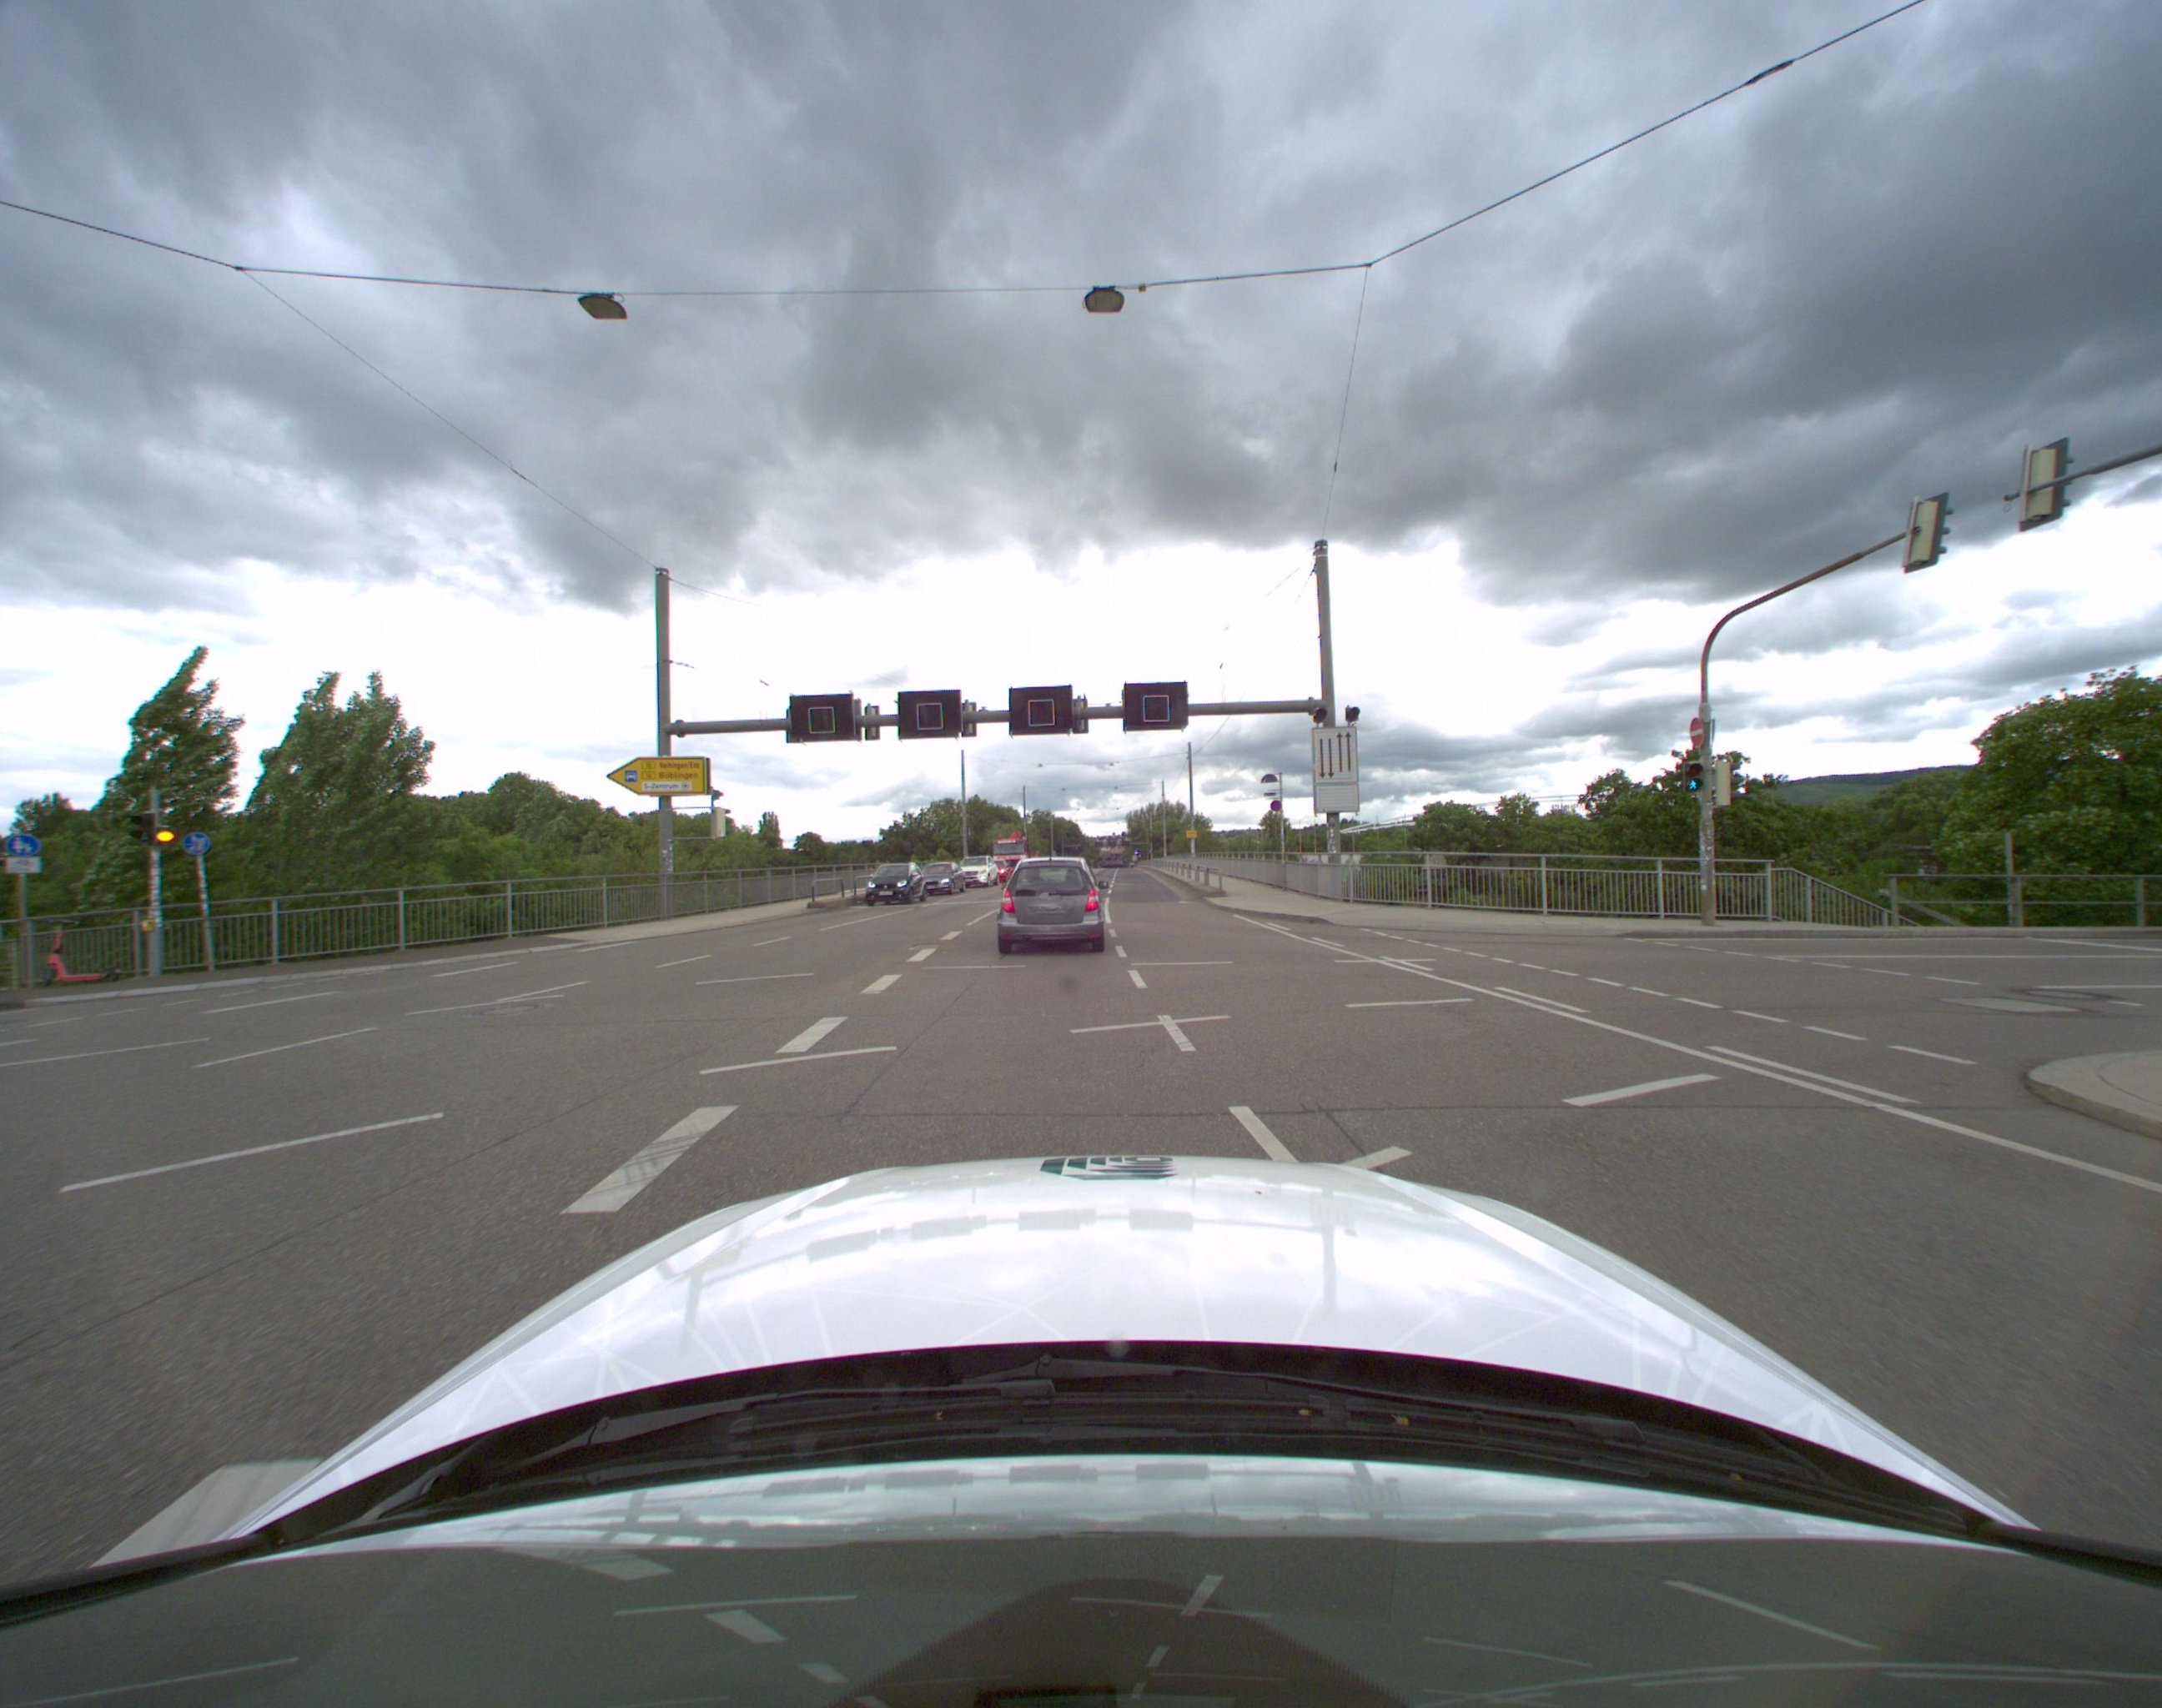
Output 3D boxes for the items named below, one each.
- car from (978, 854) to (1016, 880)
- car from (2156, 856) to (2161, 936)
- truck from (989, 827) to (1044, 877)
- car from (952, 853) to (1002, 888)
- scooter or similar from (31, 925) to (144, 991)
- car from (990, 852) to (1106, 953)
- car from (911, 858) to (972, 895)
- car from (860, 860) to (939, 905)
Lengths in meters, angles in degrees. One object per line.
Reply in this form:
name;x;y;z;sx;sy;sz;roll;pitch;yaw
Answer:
car;-5.522;0.842;54.236;1.872;1.603;4.018;-3;0;2
car;21.213;0.742;13.667;4.126;1.421;1.695;0;-2;0
truck;-5.018;-0.182;65.251;2.994;3.565;9.988;-3;0;3
car;-5.786;0.895;45.853;1.872;1.761;4.806;-3;0;2
scooter or similar;-18.531;1.928;15.208;1.329;1.056;0.484;-4;0;-6
car;-0.458;0.754;14.678;1.738;1.550;3.873;-1;0;2
car;-6.400;0.978;37.912;1.828;1.504;4.520;-3;0;2
car;-6.896;1.058;31.370;1.827;1.504;3.876;-3;0;4
